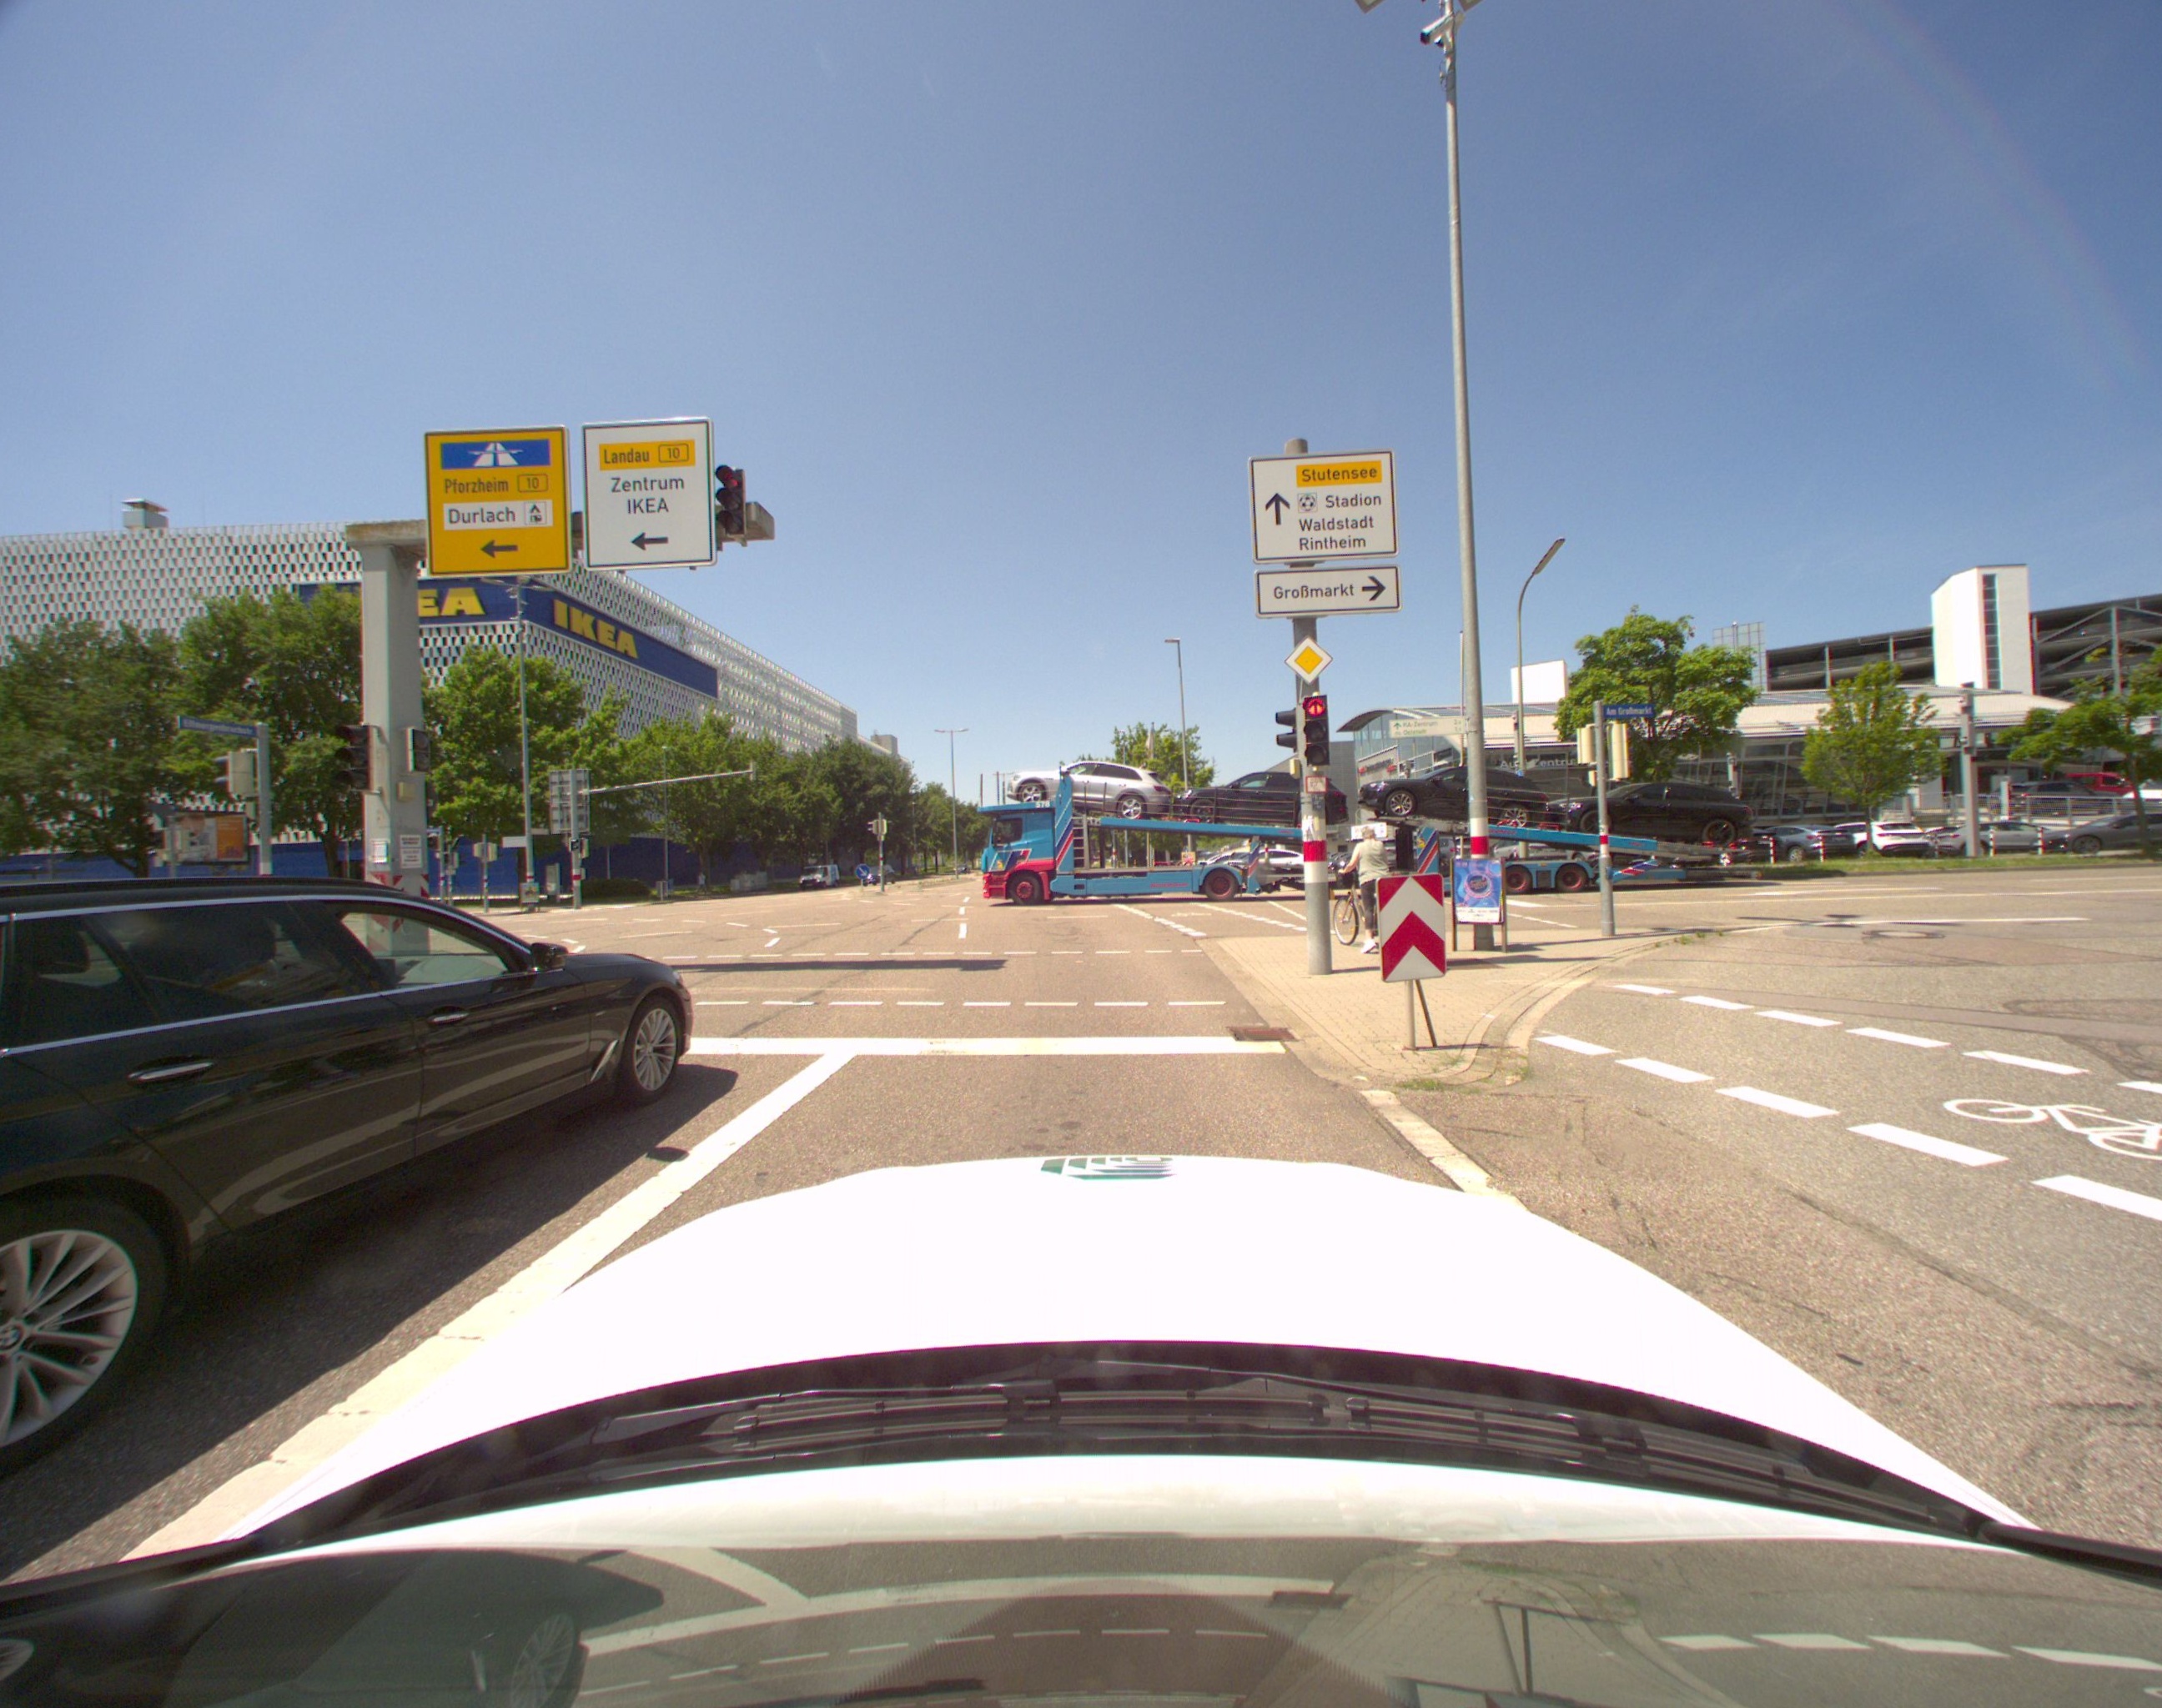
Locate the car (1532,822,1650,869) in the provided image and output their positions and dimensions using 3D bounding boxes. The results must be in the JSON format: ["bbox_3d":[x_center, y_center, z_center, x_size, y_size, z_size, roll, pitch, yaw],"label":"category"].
[{"bbox_3d":[20.136,-0.329,32.403,1.878,1.639,4.526,-3,0,1],"label":"car"}]

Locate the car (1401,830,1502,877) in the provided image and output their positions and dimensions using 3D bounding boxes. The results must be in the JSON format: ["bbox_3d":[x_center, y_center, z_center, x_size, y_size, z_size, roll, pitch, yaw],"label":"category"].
[{"bbox_3d":[14.668,-0.039,32.516,1.986,1.639,4.559,-3,0,1],"label":"car"}]

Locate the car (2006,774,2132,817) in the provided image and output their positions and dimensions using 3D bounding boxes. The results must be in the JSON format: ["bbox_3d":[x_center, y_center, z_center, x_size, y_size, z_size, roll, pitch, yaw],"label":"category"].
[{"bbox_3d":[54.544,-3.181,45.085,1.990,2.013,3.994,-2,0,-4],"label":"car"}]

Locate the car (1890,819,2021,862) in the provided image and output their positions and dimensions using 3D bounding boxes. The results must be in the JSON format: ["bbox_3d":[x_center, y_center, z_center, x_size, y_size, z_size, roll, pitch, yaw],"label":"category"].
[{"bbox_3d":[40.086,-0.587,37.456,3.720,1.772,1.781,-2,0,31],"label":"car"}]

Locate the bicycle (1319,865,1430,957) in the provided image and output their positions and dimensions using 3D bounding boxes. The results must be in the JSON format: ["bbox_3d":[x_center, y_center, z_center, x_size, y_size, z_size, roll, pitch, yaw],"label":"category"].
[{"bbox_3d":[4.066,0.749,11.447,0.784,1.127,1.919,-1,0,-2],"label":"bicycle"}]

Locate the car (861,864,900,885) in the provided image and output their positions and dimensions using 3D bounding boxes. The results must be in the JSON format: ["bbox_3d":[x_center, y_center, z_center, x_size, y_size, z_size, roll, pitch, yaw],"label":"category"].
[{"bbox_3d":[-16.458,1.656,67.072,1.868,1.598,4.497,-3,-1,1],"label":"car"}]

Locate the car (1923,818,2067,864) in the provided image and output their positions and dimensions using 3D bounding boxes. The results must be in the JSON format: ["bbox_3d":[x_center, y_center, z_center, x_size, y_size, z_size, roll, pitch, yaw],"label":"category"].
[{"bbox_3d":[38.849,-0.534,34.755,3.665,1.777,1.759,-2,0,28],"label":"car"}]

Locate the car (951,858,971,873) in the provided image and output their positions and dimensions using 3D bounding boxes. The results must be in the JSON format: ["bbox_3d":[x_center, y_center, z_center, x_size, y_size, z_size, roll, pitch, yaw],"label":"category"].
[{"bbox_3d":[-17.233,1.738,117.033,1.984,2.014,4.005,-2,-2,5],"label":"car"}]

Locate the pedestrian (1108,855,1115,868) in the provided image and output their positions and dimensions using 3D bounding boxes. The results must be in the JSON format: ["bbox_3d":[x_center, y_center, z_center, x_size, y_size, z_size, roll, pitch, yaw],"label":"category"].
[{"bbox_3d":[3.362,0.827,90.024,0.665,1.510,0.736,-2,0,1],"label":"pedestrian"}]

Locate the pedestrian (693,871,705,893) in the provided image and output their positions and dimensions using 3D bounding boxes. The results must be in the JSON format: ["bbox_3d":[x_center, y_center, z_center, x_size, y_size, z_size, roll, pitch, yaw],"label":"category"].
[{"bbox_3d":[-26.277,1.892,56.028,0.460,1.482,0.484,-3,-1,5],"label":"pedestrian"}]

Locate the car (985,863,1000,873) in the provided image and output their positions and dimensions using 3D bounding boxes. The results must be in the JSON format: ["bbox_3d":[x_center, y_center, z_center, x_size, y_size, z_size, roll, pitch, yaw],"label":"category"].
[{"bbox_3d":[-15.446,2.403,142.032,1.918,1.665,4.093,-3,-1,4],"label":"car"}]

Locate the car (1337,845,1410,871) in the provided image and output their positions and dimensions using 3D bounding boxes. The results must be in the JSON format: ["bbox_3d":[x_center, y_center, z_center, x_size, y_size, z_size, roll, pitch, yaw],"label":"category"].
[{"bbox_3d":[18.882,0.249,52.642,4.077,1.460,1.719,-2,0,1],"label":"car"}]

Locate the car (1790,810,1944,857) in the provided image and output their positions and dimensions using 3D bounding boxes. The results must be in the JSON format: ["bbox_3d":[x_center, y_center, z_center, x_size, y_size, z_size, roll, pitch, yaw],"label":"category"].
[{"bbox_3d":[30.916,-0.766,32.246,1.821,1.639,4.475,-3,0,1],"label":"car"}]

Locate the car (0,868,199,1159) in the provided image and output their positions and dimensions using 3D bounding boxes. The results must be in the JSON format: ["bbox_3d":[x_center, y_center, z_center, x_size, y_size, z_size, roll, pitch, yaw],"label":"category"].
[{"bbox_3d":[-6.447,0.855,3.179,1.794,1.494,3.994,-1,0,-4],"label":"car"}]

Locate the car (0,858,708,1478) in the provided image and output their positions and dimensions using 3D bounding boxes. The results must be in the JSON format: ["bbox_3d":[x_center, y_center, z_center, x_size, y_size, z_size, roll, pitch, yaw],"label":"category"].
[{"bbox_3d":[-3.507,0.787,3.305,1.794,1.466,4.623,-1,0,0],"label":"car"}]

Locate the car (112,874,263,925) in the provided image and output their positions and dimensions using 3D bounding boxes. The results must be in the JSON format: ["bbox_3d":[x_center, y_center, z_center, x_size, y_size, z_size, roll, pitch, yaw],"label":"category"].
[{"bbox_3d":[-32.375,1.646,29.547,4.168,1.652,1.720,-2,0,11],"label":"car"}]

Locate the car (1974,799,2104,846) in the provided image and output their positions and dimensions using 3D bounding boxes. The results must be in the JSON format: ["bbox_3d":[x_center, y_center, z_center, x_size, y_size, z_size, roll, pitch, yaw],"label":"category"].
[{"bbox_3d":[46.461,-1.495,39.583,3.728,2.013,1.865,-2,0,10],"label":"car"}]

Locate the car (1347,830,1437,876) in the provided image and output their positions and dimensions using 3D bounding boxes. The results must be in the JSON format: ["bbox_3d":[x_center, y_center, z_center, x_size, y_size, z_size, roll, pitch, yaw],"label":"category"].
[{"bbox_3d":[12.251,-0.048,32.416,1.986,1.639,4.269,-2,0,1],"label":"car"}]

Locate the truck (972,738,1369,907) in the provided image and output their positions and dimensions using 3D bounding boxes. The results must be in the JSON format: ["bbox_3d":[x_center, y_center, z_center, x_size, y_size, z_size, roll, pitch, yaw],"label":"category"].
[{"bbox_3d":[2.486,-0.779,23.576,10.554,4.082,3.109,-2,0,9],"label":"truck"}]

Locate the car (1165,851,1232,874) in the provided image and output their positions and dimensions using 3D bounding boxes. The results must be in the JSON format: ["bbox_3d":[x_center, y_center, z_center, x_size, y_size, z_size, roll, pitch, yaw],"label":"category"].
[{"bbox_3d":[8.968,0.633,62.433,4.727,1.457,1.999,-3,0,-1],"label":"car"}]

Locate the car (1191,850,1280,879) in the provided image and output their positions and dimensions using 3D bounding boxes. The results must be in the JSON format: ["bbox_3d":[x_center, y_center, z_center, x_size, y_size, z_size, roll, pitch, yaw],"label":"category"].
[{"bbox_3d":[8.943,0.590,47.421,4.727,1.457,1.999,-2,0,-1],"label":"car"}]

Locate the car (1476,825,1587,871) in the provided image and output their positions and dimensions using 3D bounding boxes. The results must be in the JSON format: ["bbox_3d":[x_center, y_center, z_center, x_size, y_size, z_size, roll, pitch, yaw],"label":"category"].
[{"bbox_3d":[17.793,-0.240,32.457,1.986,1.639,4.442,-3,0,1],"label":"car"}]

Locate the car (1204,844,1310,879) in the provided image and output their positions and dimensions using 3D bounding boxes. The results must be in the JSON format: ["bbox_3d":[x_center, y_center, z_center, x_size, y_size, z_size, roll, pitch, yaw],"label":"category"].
[{"bbox_3d":[8.485,0.374,39.578,4.722,1.457,2.001,-2,-1,3],"label":"car"}]

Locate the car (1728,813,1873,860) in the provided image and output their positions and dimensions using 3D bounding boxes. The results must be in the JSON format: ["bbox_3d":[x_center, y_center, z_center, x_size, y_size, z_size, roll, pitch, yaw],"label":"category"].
[{"bbox_3d":[28.345,-0.655,32.297,1.821,1.639,4.475,-3,0,1],"label":"car"}]

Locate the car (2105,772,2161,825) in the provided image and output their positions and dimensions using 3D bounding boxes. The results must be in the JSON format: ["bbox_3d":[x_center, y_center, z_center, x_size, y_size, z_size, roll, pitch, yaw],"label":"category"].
[{"bbox_3d":[45.263,-2.326,32.929,5.109,2.013,2.001,-2,0,1],"label":"car"}]

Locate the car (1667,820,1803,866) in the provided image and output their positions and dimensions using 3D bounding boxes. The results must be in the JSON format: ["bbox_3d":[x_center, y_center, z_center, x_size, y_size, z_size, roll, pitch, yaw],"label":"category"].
[{"bbox_3d":[25.719,-0.419,32.270,1.821,1.639,4.474,-1,0,0],"label":"car"}]

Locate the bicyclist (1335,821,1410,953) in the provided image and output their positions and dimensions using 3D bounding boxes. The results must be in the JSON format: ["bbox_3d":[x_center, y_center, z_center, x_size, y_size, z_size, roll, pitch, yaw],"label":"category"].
[{"bbox_3d":[4.037,0.437,11.314,0.732,1.749,0.753,-1,0,-3],"label":"bicyclist"}]

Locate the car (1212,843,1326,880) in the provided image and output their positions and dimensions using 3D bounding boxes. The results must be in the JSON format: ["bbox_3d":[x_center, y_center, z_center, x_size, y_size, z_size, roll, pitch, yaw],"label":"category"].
[{"bbox_3d":[8.411,0.333,36.844,4.722,1.457,2.002,-2,0,3],"label":"car"}]

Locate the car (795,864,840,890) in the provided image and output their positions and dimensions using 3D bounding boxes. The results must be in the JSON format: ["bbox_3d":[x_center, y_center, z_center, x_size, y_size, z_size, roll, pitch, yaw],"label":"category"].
[{"bbox_3d":[-21.966,1.877,68.118,1.986,2.007,4.766,-3,-1,2],"label":"car"}]

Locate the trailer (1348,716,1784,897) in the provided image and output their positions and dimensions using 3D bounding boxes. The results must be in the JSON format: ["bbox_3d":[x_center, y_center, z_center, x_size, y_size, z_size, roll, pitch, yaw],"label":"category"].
[{"bbox_3d":[12.477,-1.133,21.985,9.554,4.081,3.103,-2,0,9],"label":"trailer"}]

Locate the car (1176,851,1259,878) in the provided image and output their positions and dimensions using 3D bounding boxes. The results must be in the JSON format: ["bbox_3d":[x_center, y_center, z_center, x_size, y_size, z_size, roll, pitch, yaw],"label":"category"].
[{"bbox_3d":[8.373,0.640,50.120,4.727,1.457,1.999,-2,0,-1],"label":"car"}]

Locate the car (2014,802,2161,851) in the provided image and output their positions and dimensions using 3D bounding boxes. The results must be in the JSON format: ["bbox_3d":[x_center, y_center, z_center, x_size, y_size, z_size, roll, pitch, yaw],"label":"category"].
[{"bbox_3d":[39.196,-1.052,30.854,4.705,1.639,1.844,-3,0,24],"label":"car"}]

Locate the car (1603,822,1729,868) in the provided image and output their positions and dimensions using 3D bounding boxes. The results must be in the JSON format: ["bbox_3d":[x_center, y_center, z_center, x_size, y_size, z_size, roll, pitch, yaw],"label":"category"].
[{"bbox_3d":[23.031,-0.353,32.303,1.821,1.639,4.475,-3,0,1],"label":"car"}]
